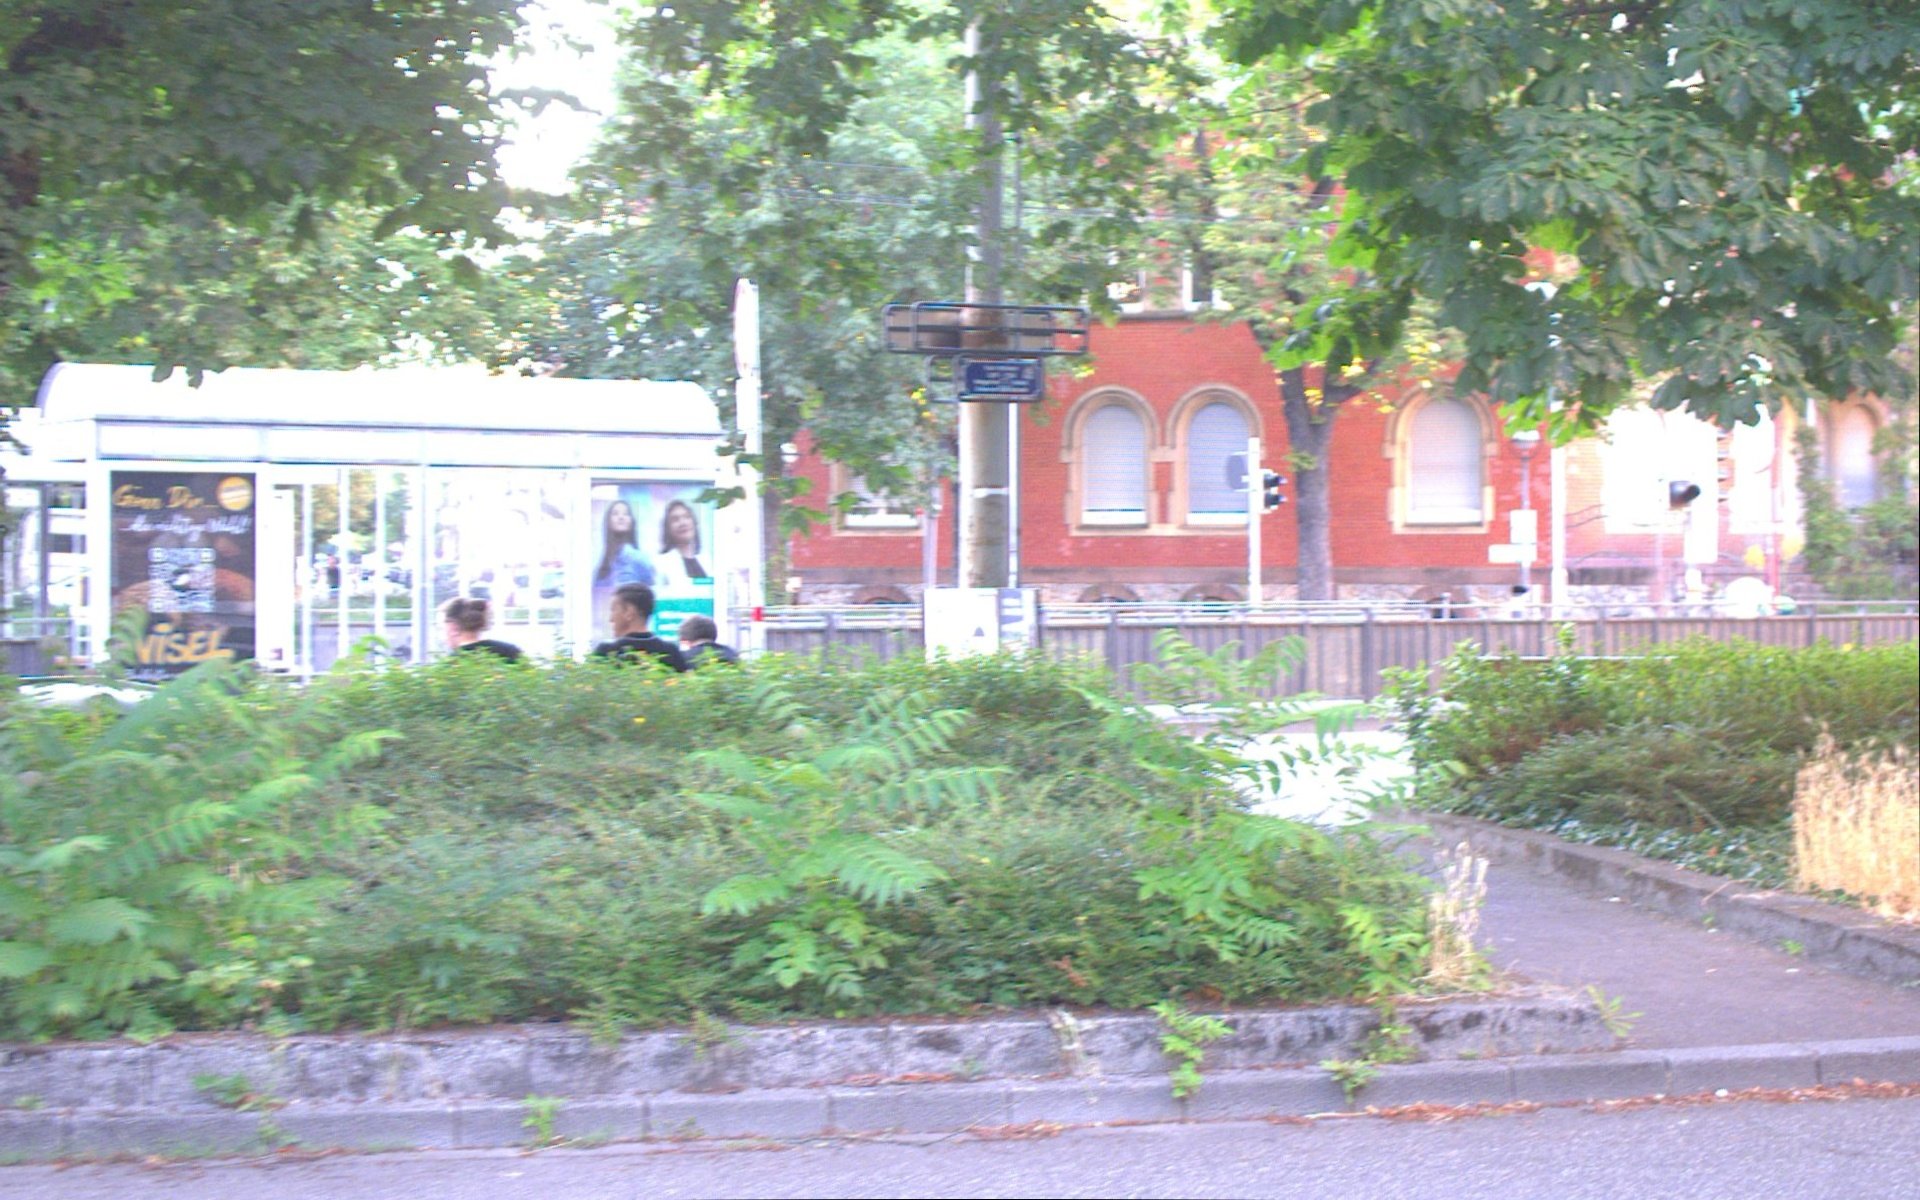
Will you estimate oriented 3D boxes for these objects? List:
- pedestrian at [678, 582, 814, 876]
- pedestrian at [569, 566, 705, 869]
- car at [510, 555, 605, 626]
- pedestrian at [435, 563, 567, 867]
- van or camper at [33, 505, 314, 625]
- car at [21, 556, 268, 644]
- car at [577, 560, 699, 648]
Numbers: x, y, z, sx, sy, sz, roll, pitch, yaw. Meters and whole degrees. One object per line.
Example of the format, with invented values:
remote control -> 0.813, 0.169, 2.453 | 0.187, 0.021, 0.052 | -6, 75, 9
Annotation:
pedestrian -> -1.073, 0.628, 17.148 | 0.616, 1.426, 0.655 | 0, 1, -9
pedestrian -> -1.568, 0.552, 16.632 | 0.616, 1.426, 0.655 | 0, 1, -9
car -> -10.091, -0.249, 85.950 | 1.993, 1.698, 4.721 | 1, 0, -11
pedestrian -> -2.218, 0.537, 16.567 | 0.616, 1.426, 0.655 | 0, 1, -9
van or camper -> -21.625, -0.952, 94.549 | 7.363, 3.072, 2.674 | 1, 0, -14
car -> -17.127, -0.004, 72.247 | 4.949, 1.698, 2.001 | 1, 0, -14
car -> -6.595, 0.054, 69.976 | 1.993, 1.698, 4.721 | 1, 0, -11
